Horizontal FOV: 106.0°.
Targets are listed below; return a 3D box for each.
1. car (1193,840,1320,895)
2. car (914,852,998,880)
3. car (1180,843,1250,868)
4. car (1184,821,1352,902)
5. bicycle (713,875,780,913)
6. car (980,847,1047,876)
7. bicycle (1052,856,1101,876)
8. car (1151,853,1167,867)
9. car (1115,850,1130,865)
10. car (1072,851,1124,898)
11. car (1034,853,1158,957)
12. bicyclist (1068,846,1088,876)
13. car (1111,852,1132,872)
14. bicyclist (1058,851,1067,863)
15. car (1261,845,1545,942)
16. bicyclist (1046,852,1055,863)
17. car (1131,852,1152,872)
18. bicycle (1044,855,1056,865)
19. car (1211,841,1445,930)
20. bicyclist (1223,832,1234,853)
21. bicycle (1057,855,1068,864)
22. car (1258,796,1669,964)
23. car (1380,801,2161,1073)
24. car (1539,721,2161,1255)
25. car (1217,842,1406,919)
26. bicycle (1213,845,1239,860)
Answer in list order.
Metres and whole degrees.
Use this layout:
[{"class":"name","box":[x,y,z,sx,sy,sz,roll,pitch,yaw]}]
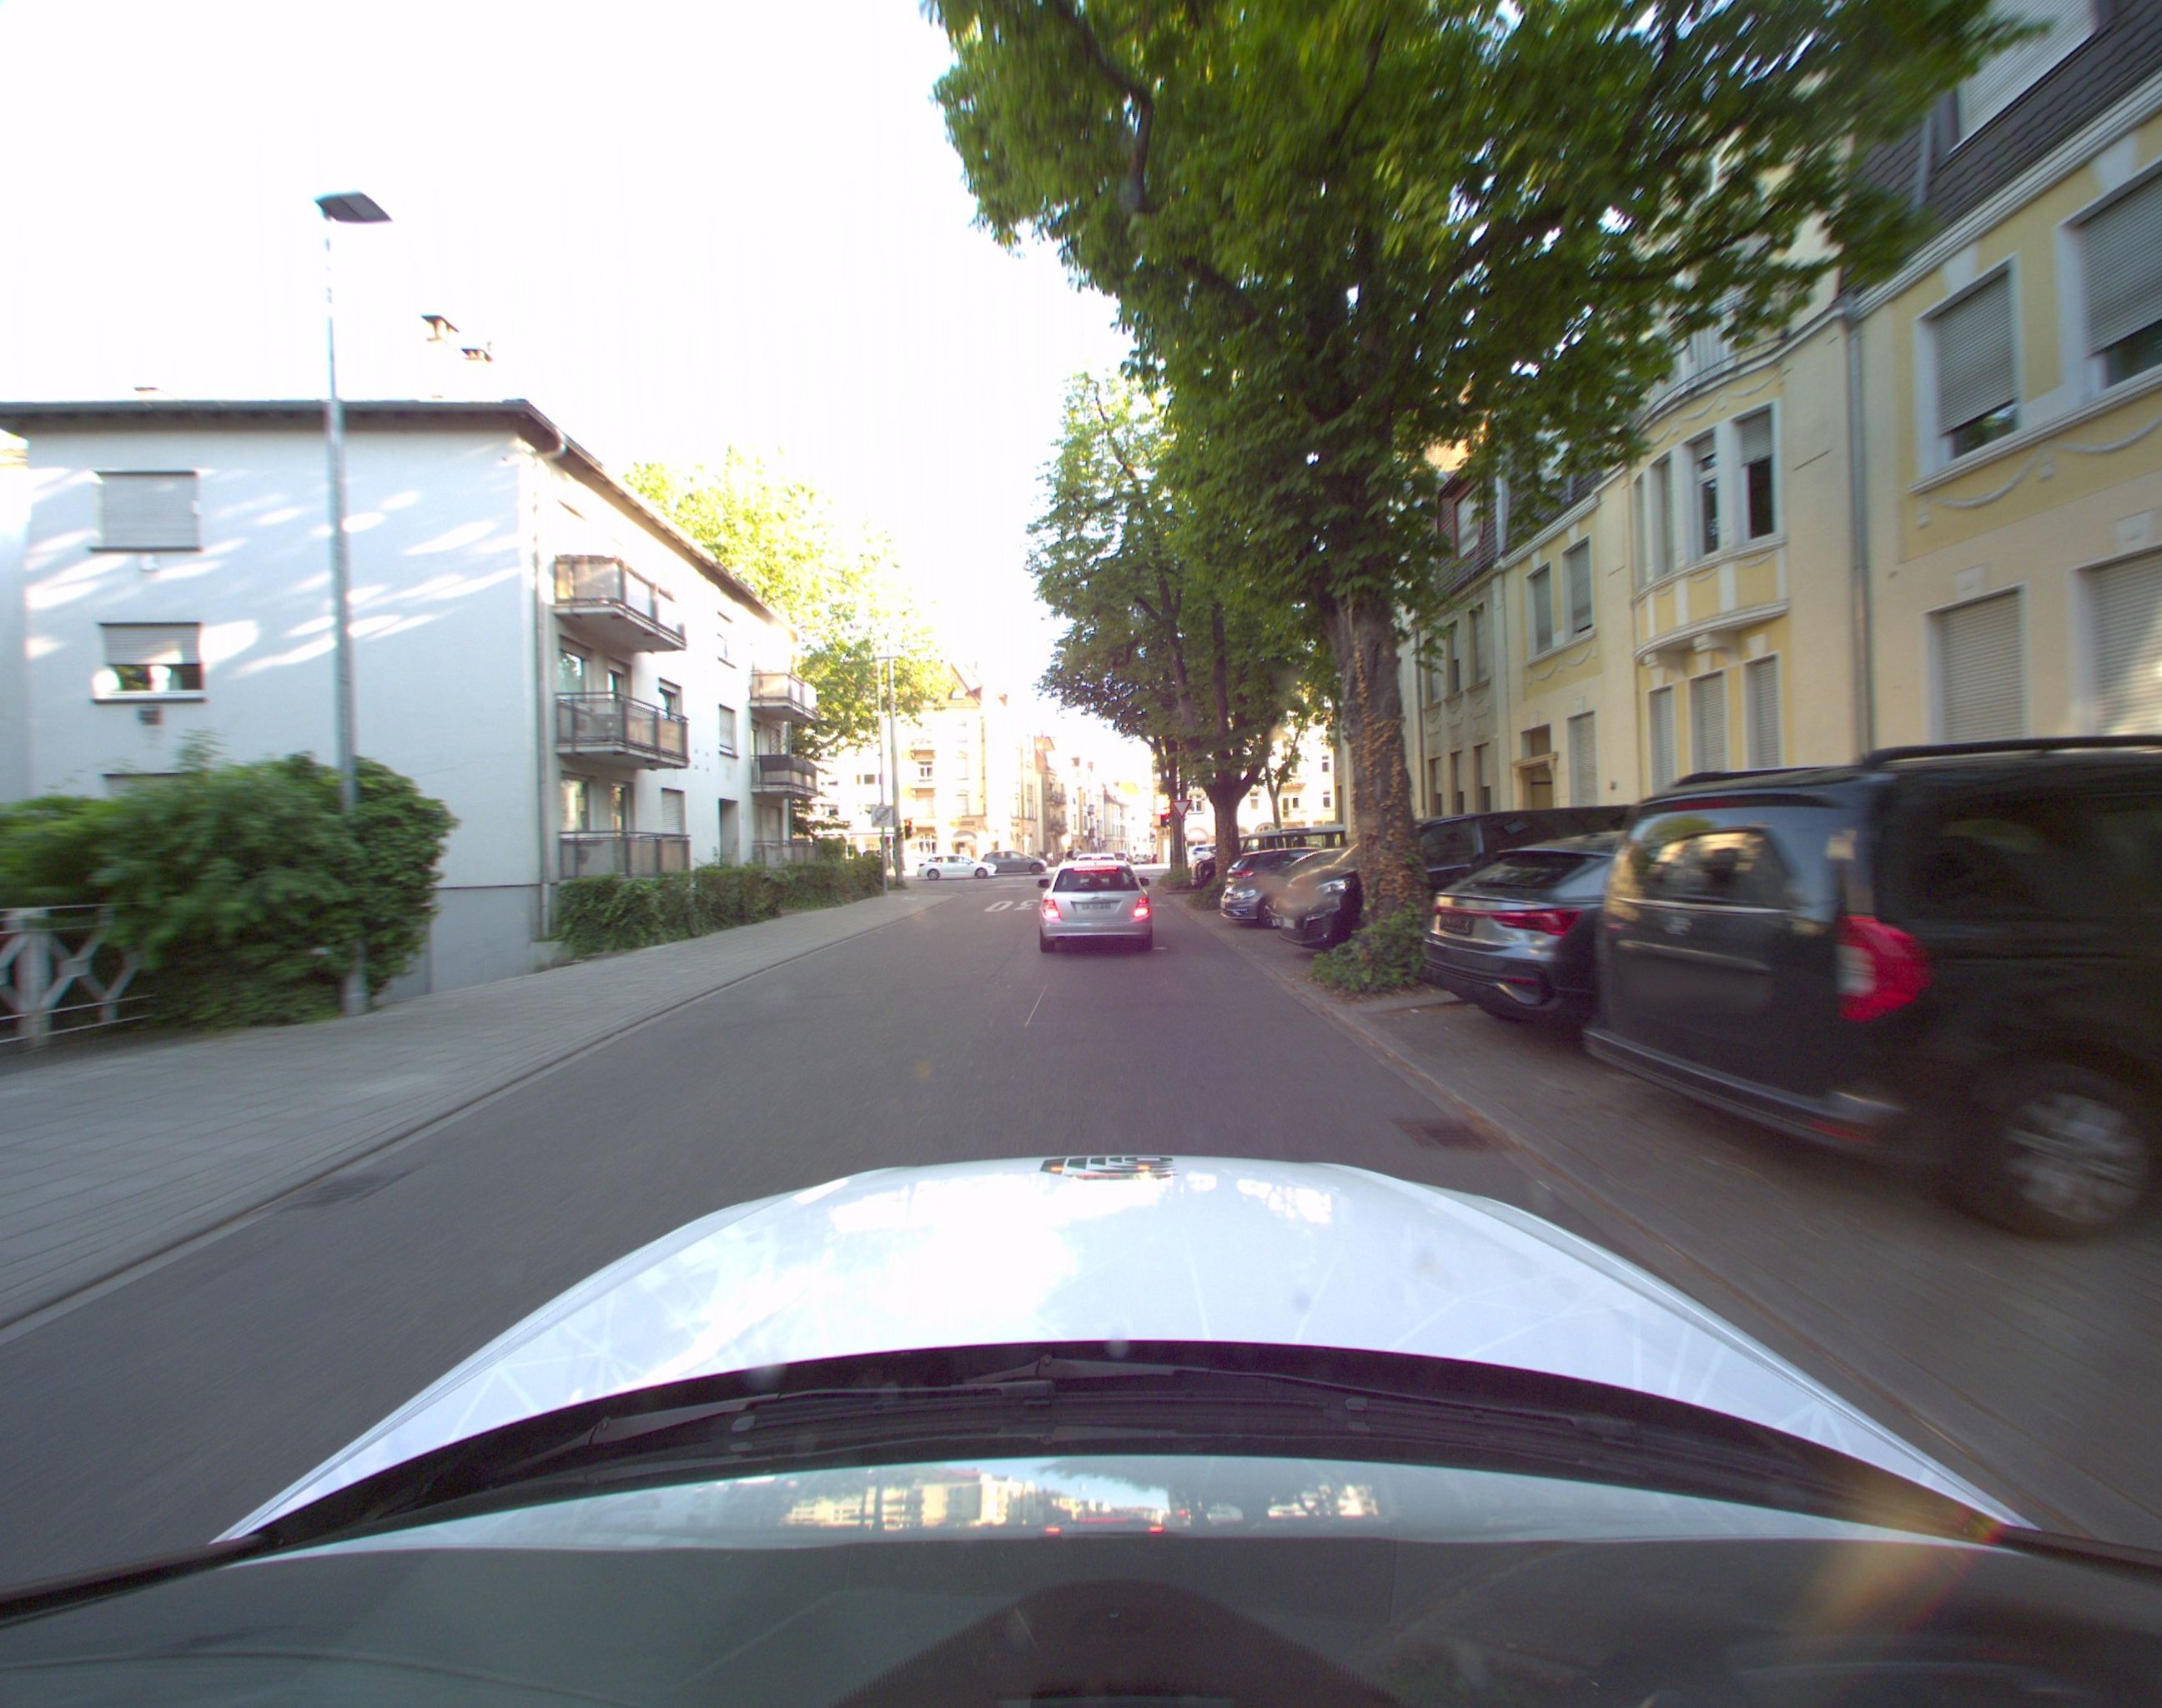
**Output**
[{"class":"car","box":[5.700,0.430,26.753,3.713,1.570,1.708,-3,0,-2]},{"class":"car","box":[-7.175,0.683,47.073,4.657,1.448,1.735,-2,0,-7]},{"class":"car","box":[8.517,0.071,51.862,4.095,1.421,1.736,-2,1,-6]},{"class":"car","box":[5.392,0.209,23.811,4.453,2.036,1.700,-3,0,-2]},{"class":"bicycle","box":[-9.342,1.091,22.762,1.630,1.008,0.512,1,-1,-39]},{"class":"car","box":[-4.177,0.463,50.373,3.960,1.582,1.736,-2,0,-6]},{"class":"bicycle","box":[-0.259,0.678,45.588,2.682,1.040,0.805,-2,0,-9]},{"class":"car","box":[11.049,0.854,115.515,1.823,1.744,4.012,-1,1,10]},{"class":"car","box":[6.739,0.548,131.082,1.776,2.204,4.012,-1,1,10]},{"class":"car","box":[0.570,0.649,27.866,1.614,1.446,4.344,-1,0,0]},{"class":"car","box":[0.240,0.730,14.019,1.771,1.452,4.548,-1,0,0]},{"class":"bicyclist","box":[-0.158,0.379,45.608,0.996,1.654,0.805,-2,0,-9]},{"class":"car","box":[5.096,0.972,102.017,2.018,2.279,4.012,-1,1,10]},{"class":"bicyclist","box":[-1.994,0.322,87.425,0.765,1.290,0.756,-1,0,13]},{"class":"car","box":[5.304,0.622,13.737,4.126,1.315,1.628,-3,0,-3]},{"class":"bicyclist","box":[-3.294,0.419,87.453,0.765,1.156,0.756,-1,0,13]},{"class":"car","box":[7.389,0.936,99.577,2.018,2.279,4.012,-1,1,10]},{"class":"bicycle","box":[-3.310,0.641,87.376,0.765,0.940,1.947,-1,1,13]},{"class":"car","box":[4.756,0.582,16.056,4.042,1.452,1.722,-3,0,-2]},{"class":"bicyclist","box":[13.384,-1.007,73.940,0.889,1.859,0.636,-2,0,-2]},{"class":"bicycle","box":[-1.988,0.615,87.425,0.765,0.934,1.947,-1,1,13]},{"class":"car","box":[5.066,0.318,11.231,4.738,1.874,1.896,-3,0,-3]},{"class":"car","box":[4.896,0.520,6.229,4.498,1.523,1.843,-3,0,-3]},{"class":"car","box":[4.757,0.398,3.848,4.097,1.837,1.844,-3,0,-1]},{"class":"car","box":[5.073,0.565,18.250,3.713,1.452,1.708,-3,0,-2]},{"class":"bicycle","box":[13.143,-0.129,73.917,2.251,1.246,0.636,-2,0,-3]}]
